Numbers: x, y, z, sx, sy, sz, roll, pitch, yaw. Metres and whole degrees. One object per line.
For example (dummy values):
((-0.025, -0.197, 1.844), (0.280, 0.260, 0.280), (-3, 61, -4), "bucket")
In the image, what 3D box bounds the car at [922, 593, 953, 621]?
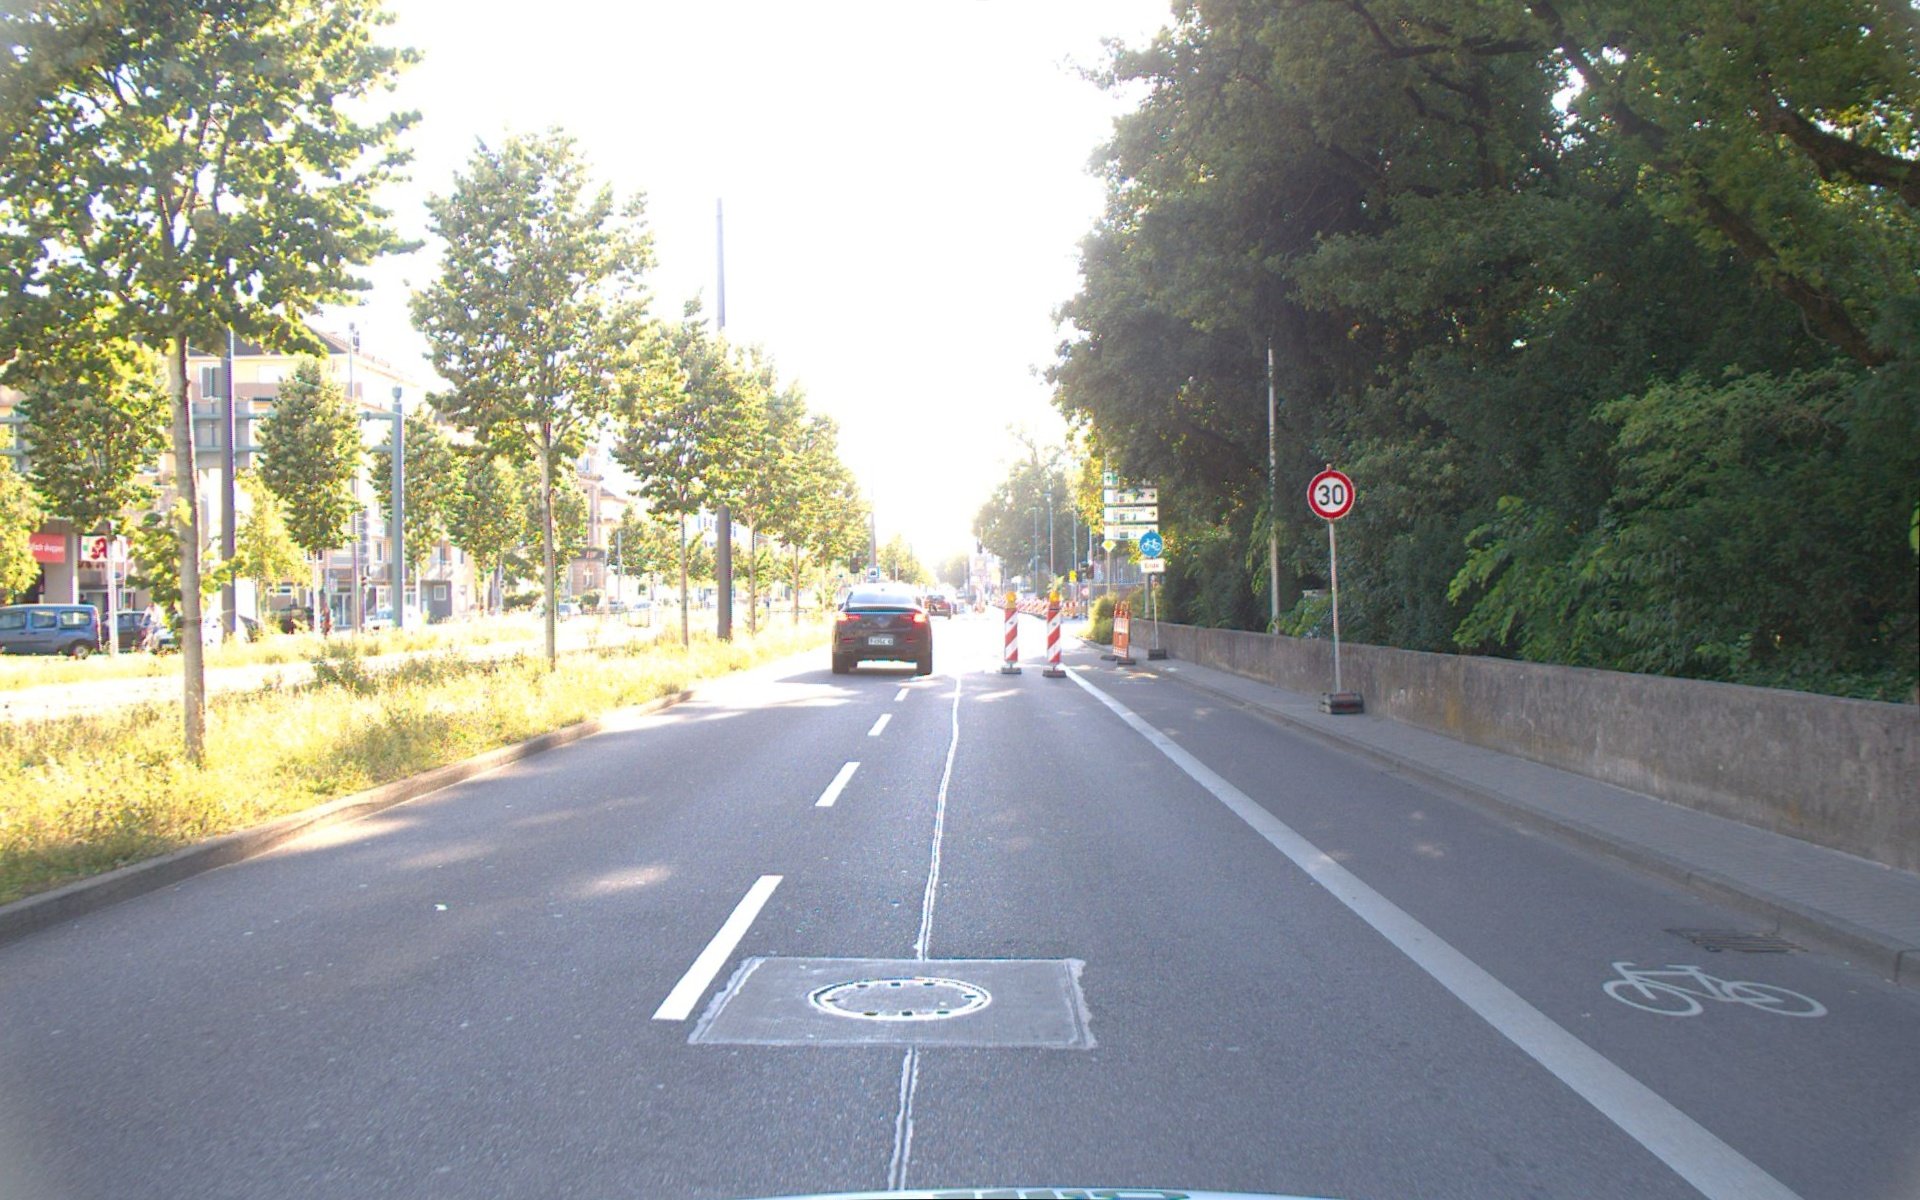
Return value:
((-1.385, 0.403, 100.994), (1.847, 1.608, 4.000), (0, 1, -1), "car")

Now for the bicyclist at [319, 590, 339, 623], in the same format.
((-27.161, 0.281, 71.178), (0.580, 1.379, 0.759), (0, 0, -3), "bicyclist")

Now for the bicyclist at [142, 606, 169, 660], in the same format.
((-27.379, 1.125, 56.300), (0.529, 1.819, 0.857), (0, 0, -3), "bicyclist")

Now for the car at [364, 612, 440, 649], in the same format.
((-24.240, 1.305, 71.974), (1.846, 1.541, 4.001), (0, 0, 2), "car")

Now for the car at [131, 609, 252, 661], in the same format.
((-24.216, 1.068, 52.296), (1.846, 1.541, 4.001), (0, 0, 2), "car")

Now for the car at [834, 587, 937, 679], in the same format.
((-1.558, 0.617, 33.539), (1.954, 1.765, 3.997), (0, 0, -4), "car")

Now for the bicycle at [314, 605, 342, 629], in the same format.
((-27.177, 0.735, 71.135), (0.594, 0.980, 1.716), (0, 0, -2), "bicycle")

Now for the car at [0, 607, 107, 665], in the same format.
((-30.518, 1.171, 54.810), (3.723, 1.861, 1.798), (0, 0, -40), "car")

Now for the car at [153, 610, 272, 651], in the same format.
((-30.026, 1.197, 66.471), (3.966, 1.590, 1.970), (0, 0, -42), "car")

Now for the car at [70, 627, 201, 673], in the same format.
((-30.804, 1.832, 61.875), (1.964, 1.601, 3.976), (0, 0, 42), "car")

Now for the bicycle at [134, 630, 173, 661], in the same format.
((-27.369, 1.542, 56.163), (0.533, 1.010, 1.711), (0, 0, -2), "bicycle")

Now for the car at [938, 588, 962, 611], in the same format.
((-0.787, -0.060, 124.831), (1.731, 1.632, 3.772), (-1, 0, -1), "car")
